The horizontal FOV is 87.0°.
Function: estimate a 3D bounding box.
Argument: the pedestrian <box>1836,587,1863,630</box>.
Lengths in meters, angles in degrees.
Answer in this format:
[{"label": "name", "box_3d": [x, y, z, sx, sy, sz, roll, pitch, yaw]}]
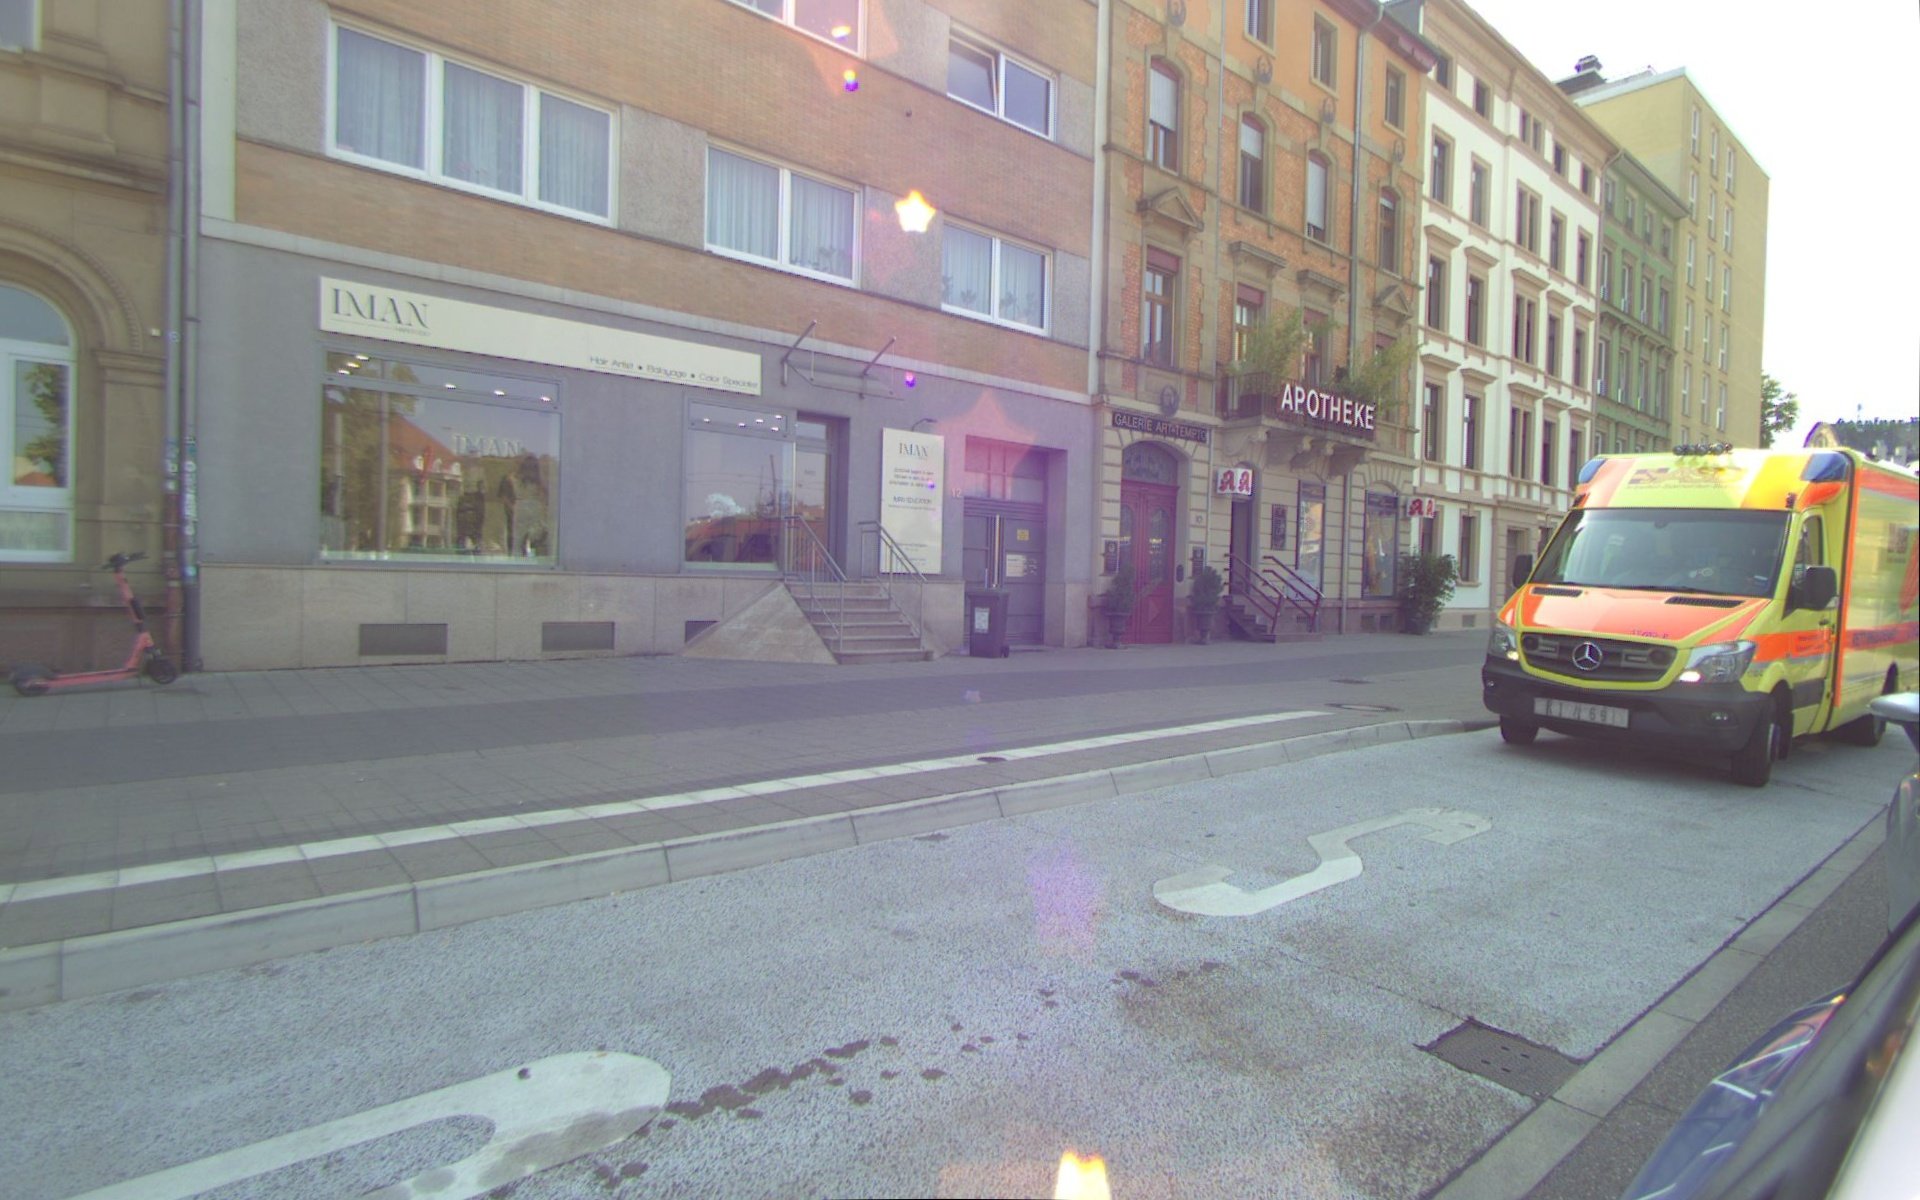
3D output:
[{"label": "pedestrian", "box_3d": [37.863, 0.342, 43.086, 0.783, 1.780, 0.688, 0, 2, -42]}]

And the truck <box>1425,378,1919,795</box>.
[{"label": "truck", "box_3d": [7.235, -0.167, 9.623, 6.221, 2.803, 2.336, 0, 4, -37]}]

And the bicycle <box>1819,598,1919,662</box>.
[{"label": "bicycle", "box_3d": [18.320, 0.573, 20.126, 0.427, 1.219, 1.841, 1, 0, -39]}]

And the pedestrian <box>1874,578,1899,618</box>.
[{"label": "pedestrian", "box_3d": [39.151, -0.092, 42.765, 0.783, 1.648, 0.645, 0, 2, -43]}]

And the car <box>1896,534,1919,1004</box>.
[{"label": "car", "box_3d": [5.304, 0.594, 4.116, 3.929, 1.608, 1.728, 0, 1, -40]}]

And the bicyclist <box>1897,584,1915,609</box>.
[{"label": "bicyclist", "box_3d": [61.434, -0.235, 65.712, 1.083, 1.606, 0.721, 1, 1, -40]}]

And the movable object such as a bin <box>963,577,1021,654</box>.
[{"label": "movable object such as a bin", "box_3d": [0.500, 0.226, 15.665, 0.640, 1.118, 0.723, 3, 2, 24]}]

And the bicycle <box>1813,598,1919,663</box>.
[{"label": "bicycle", "box_3d": [17.983, 0.575, 19.860, 0.427, 1.219, 1.841, 1, 0, -39]}]

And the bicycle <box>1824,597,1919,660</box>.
[{"label": "bicycle", "box_3d": [18.667, 0.560, 20.418, 0.427, 1.235, 1.841, 1, 0, -39]}]

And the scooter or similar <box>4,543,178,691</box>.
[{"label": "scooter or similar", "box_3d": [-7.642, 0.132, 8.917, 0.476, 1.227, 1.124, 3, 2, 45]}]
